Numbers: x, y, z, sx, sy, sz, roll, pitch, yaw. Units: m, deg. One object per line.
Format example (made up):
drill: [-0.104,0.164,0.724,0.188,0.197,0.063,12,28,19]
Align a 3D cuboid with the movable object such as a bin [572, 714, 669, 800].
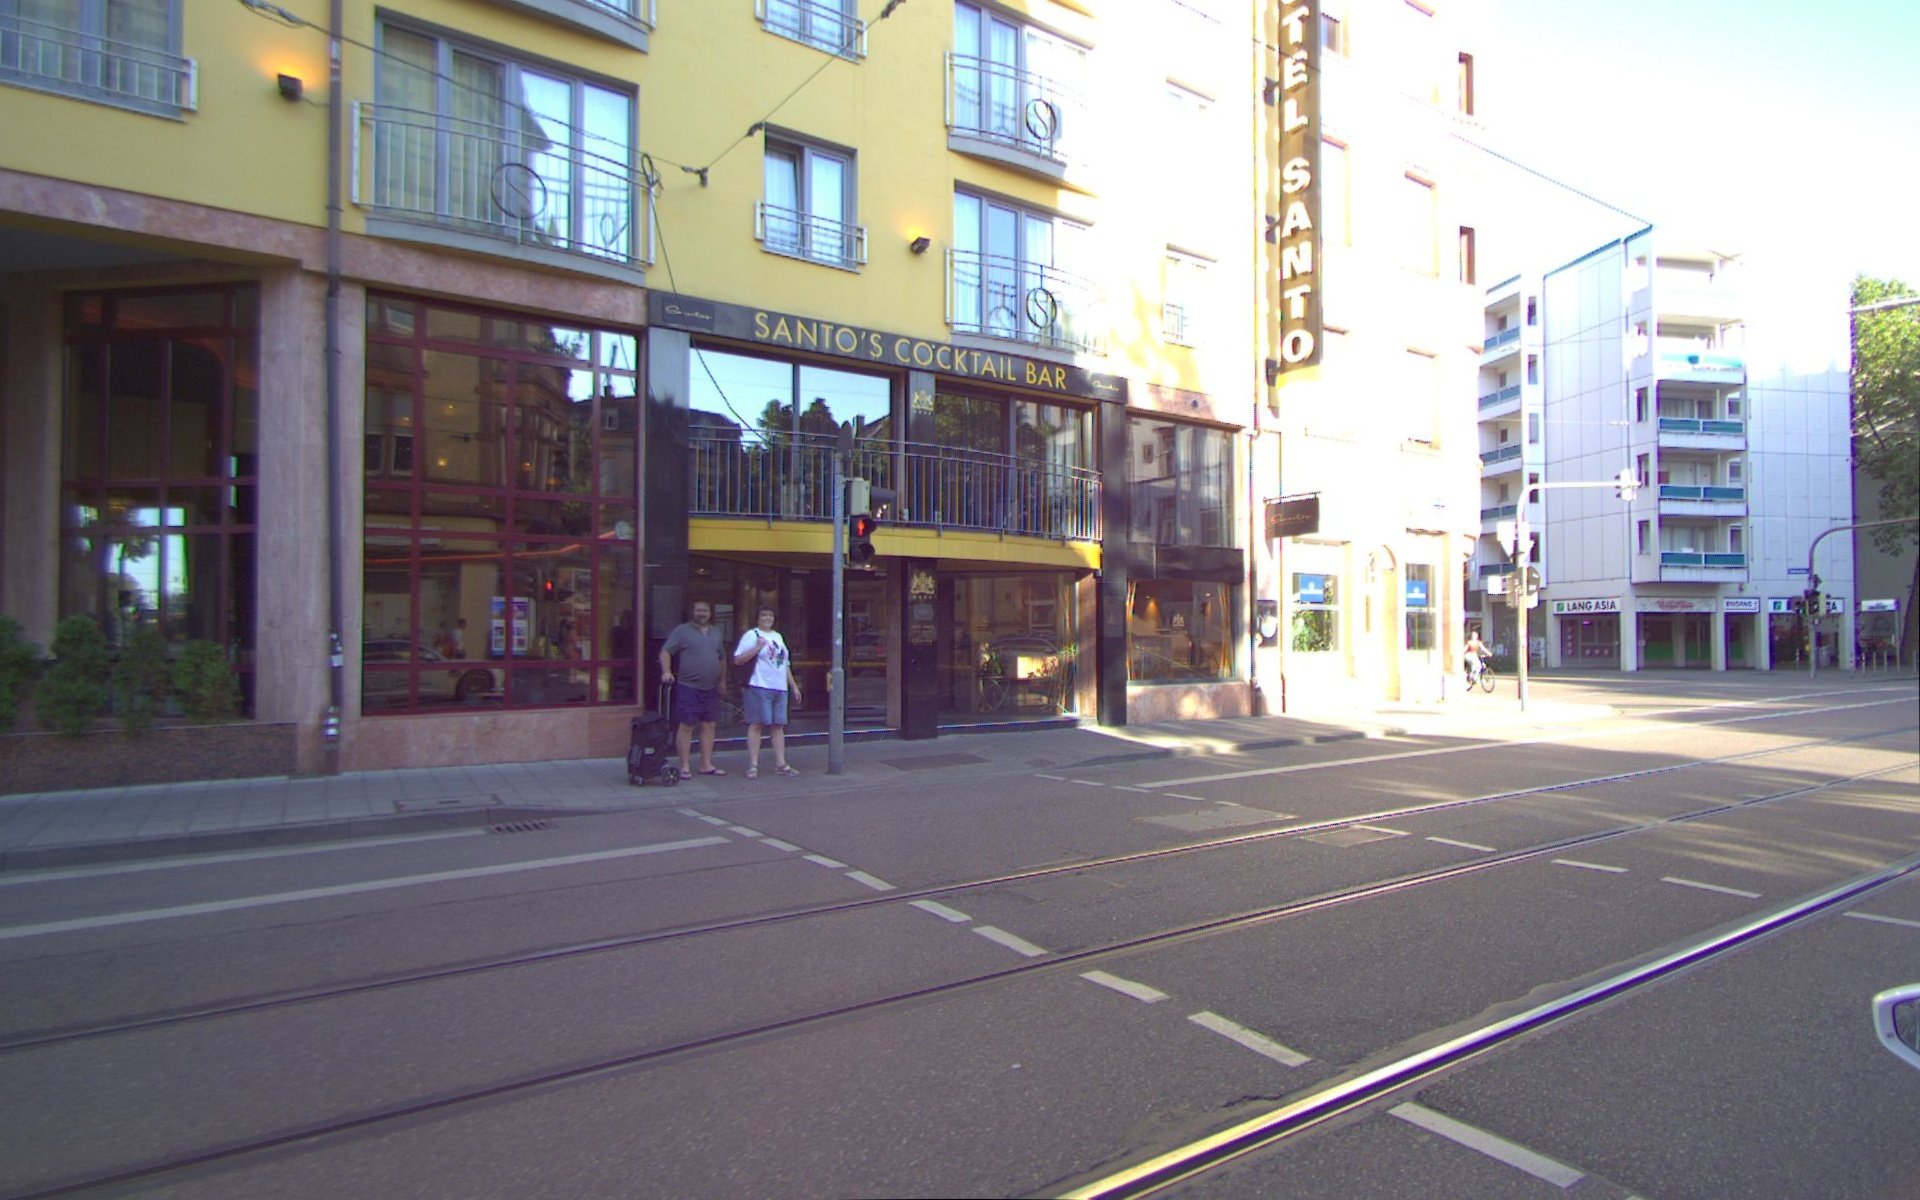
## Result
movable object such as a bin: [-3.352,1.531,9.917,0.831,0.726,0.381,1,3,-32]

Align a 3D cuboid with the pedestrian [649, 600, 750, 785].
pedestrian: [-2.712,0.918,10.428,0.792,1.795,0.742,0,3,-34]

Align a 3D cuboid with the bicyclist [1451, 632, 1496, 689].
bicyclist: [15.157,1.776,29.654,0.692,1.665,0.988,1,-2,-14]

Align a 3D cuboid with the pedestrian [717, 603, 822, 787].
pedestrian: [-2.086,0.987,10.947,0.746,1.843,1.036,0,3,-34]

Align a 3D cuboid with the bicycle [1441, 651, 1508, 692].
bicycle: [15.162,2.085,29.638,0.687,1.124,1.893,0,-2,-13]
